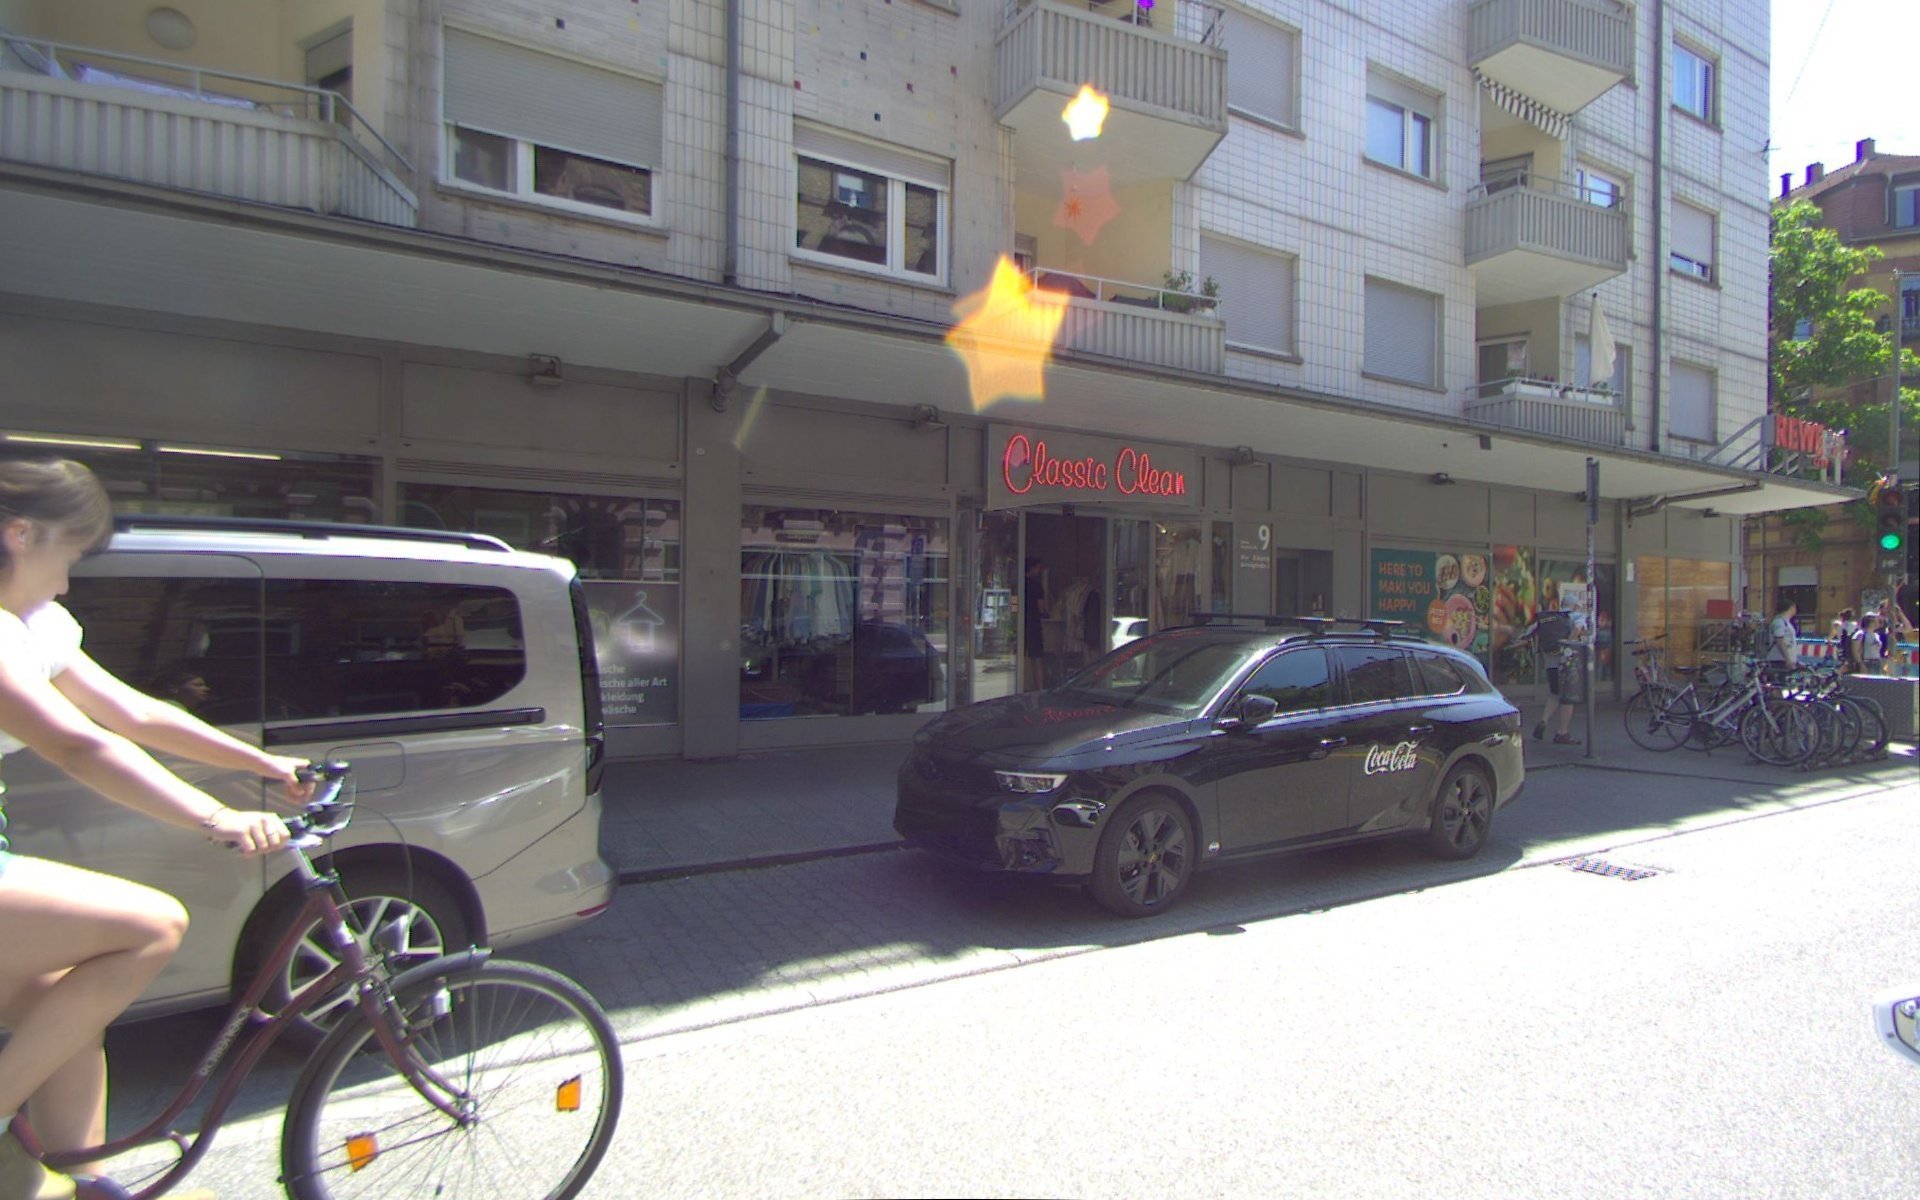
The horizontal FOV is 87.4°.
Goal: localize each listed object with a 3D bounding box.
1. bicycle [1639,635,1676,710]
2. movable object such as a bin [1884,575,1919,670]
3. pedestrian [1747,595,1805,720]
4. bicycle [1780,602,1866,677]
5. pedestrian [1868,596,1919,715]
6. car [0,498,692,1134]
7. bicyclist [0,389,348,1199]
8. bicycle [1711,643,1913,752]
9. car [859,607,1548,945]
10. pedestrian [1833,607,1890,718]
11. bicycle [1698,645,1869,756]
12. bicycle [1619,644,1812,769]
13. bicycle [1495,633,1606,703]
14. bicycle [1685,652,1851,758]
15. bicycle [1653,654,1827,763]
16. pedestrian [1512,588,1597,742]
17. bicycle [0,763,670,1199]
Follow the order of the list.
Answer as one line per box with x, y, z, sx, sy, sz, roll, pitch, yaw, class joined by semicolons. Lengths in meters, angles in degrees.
11.136;1.133;16.025;0.317;1.101;1.425;1;1;41;bicycle
28.860;0.686;27.709;1.931;2.695;4.523;1;1;-29;movable object such as a bin
11.999;0.827;14.766;0.593;1.794;0.506;1;-1;-32;pedestrian
15.187;0.681;17.667;1.988;1.263;0.532;1;-1;-30;bicycle
14.811;0.867;15.902;0.593;1.844;0.506;1;-1;-32;pedestrian
-3.493;0.610;3.474;4.648;1.835;1.778;1;0;-33;car
-1.754;0.519;1.913;0.967;1.729;0.620;1;-1;-30;bicyclist
10.489;1.162;12.433;0.572;1.138;1.786;1;1;-35;bicycle
1.706;0.856;6.509;4.410;1.545;1.662;1;0;-30;car
13.807;0.940;15.385;0.593;1.654;0.506;1;-1;-32;pedestrian
9.793;1.162;12.001;0.332;1.132;1.510;1;2;-33;bicycle
8.244;1.120;11.031;0.521;1.154;1.574;1;2;-33;bicycle
9.697;1.099;16.536;1.553;1.086;0.340;0;-1;44;bicycle
9.381;1.186;11.713;0.332;1.050;1.439;1;2;-33;bicycle
8.797;1.189;11.385;0.394;1.044;1.484;1;2;-33;bicycle
7.025;0.751;11.874;0.650;1.749;0.628;1;-1;-29;pedestrian
-1.612;0.979;1.973;1.917;1.106;0.600;1;-1;-31;bicycle
